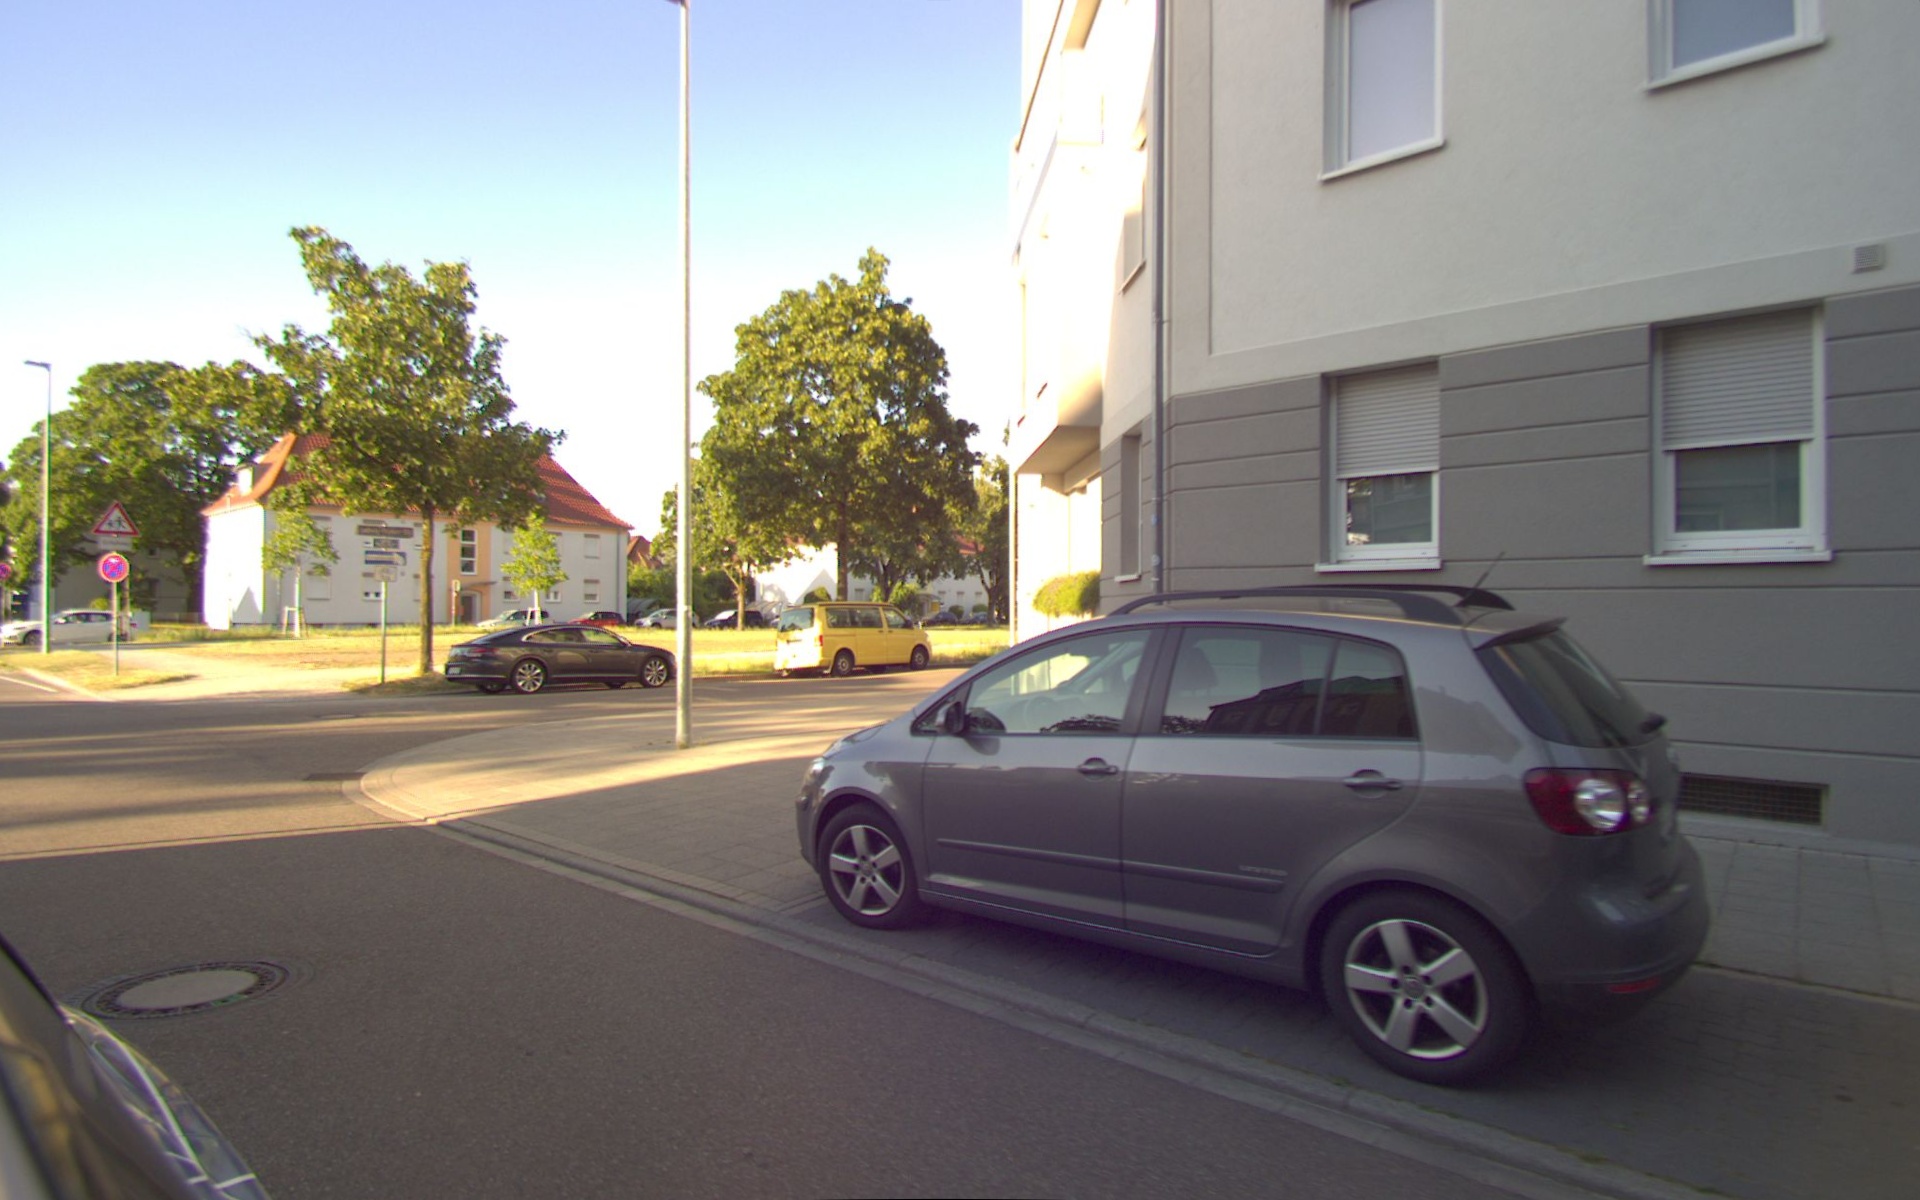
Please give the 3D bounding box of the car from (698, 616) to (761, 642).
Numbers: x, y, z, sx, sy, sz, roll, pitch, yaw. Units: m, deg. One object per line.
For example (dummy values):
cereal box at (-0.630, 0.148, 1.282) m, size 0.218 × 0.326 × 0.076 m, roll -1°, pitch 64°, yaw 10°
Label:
car at (-15.893, 1.967, 69.876) m, size 1.848 × 1.708 × 3.948 m, roll -3°, pitch -3°, yaw 38°

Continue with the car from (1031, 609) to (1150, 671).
car at (4.676, 1.355, 35.713) m, size 2.078 × 2.029 × 4.514 m, roll -1°, pitch -1°, yaw 40°

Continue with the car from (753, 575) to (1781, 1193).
car at (1.105, 0.778, 4.658) m, size 4.085 × 1.603 × 1.866 m, roll -1°, pitch -2°, yaw 38°

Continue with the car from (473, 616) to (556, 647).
car at (-25.645, 1.819, 58.343) m, size 1.848 × 1.708 × 3.948 m, roll -3°, pitch -3°, yaw 38°

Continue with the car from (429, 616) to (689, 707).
car at (-8.211, 1.195, 21.139) m, size 1.788 × 1.682 × 4.773 m, roll -1°, pitch -1°, yaw 41°

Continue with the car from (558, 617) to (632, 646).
car at (-22.451, 1.923, 62.330) m, size 1.848 × 1.708 × 3.948 m, roll -3°, pitch -3°, yaw 38°

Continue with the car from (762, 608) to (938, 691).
car at (-2.903, 1.324, 27.654) m, size 2.031 × 2.029 × 4.632 m, roll -5°, pitch -5°, yaw 39°

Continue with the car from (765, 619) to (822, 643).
car at (-12.218, 2.261, 74.374) m, size 1.848 × 1.708 × 3.948 m, roll -3°, pitch -3°, yaw 38°

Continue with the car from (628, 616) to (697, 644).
car at (-19.269, 1.951, 65.609) m, size 1.848 × 1.708 × 3.948 m, roll -3°, pitch -3°, yaw 38°

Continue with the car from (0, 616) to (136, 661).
car at (-35.980, 1.531, 40.567) m, size 1.866 × 1.708 × 4.249 m, roll -3°, pitch -3°, yaw 35°
